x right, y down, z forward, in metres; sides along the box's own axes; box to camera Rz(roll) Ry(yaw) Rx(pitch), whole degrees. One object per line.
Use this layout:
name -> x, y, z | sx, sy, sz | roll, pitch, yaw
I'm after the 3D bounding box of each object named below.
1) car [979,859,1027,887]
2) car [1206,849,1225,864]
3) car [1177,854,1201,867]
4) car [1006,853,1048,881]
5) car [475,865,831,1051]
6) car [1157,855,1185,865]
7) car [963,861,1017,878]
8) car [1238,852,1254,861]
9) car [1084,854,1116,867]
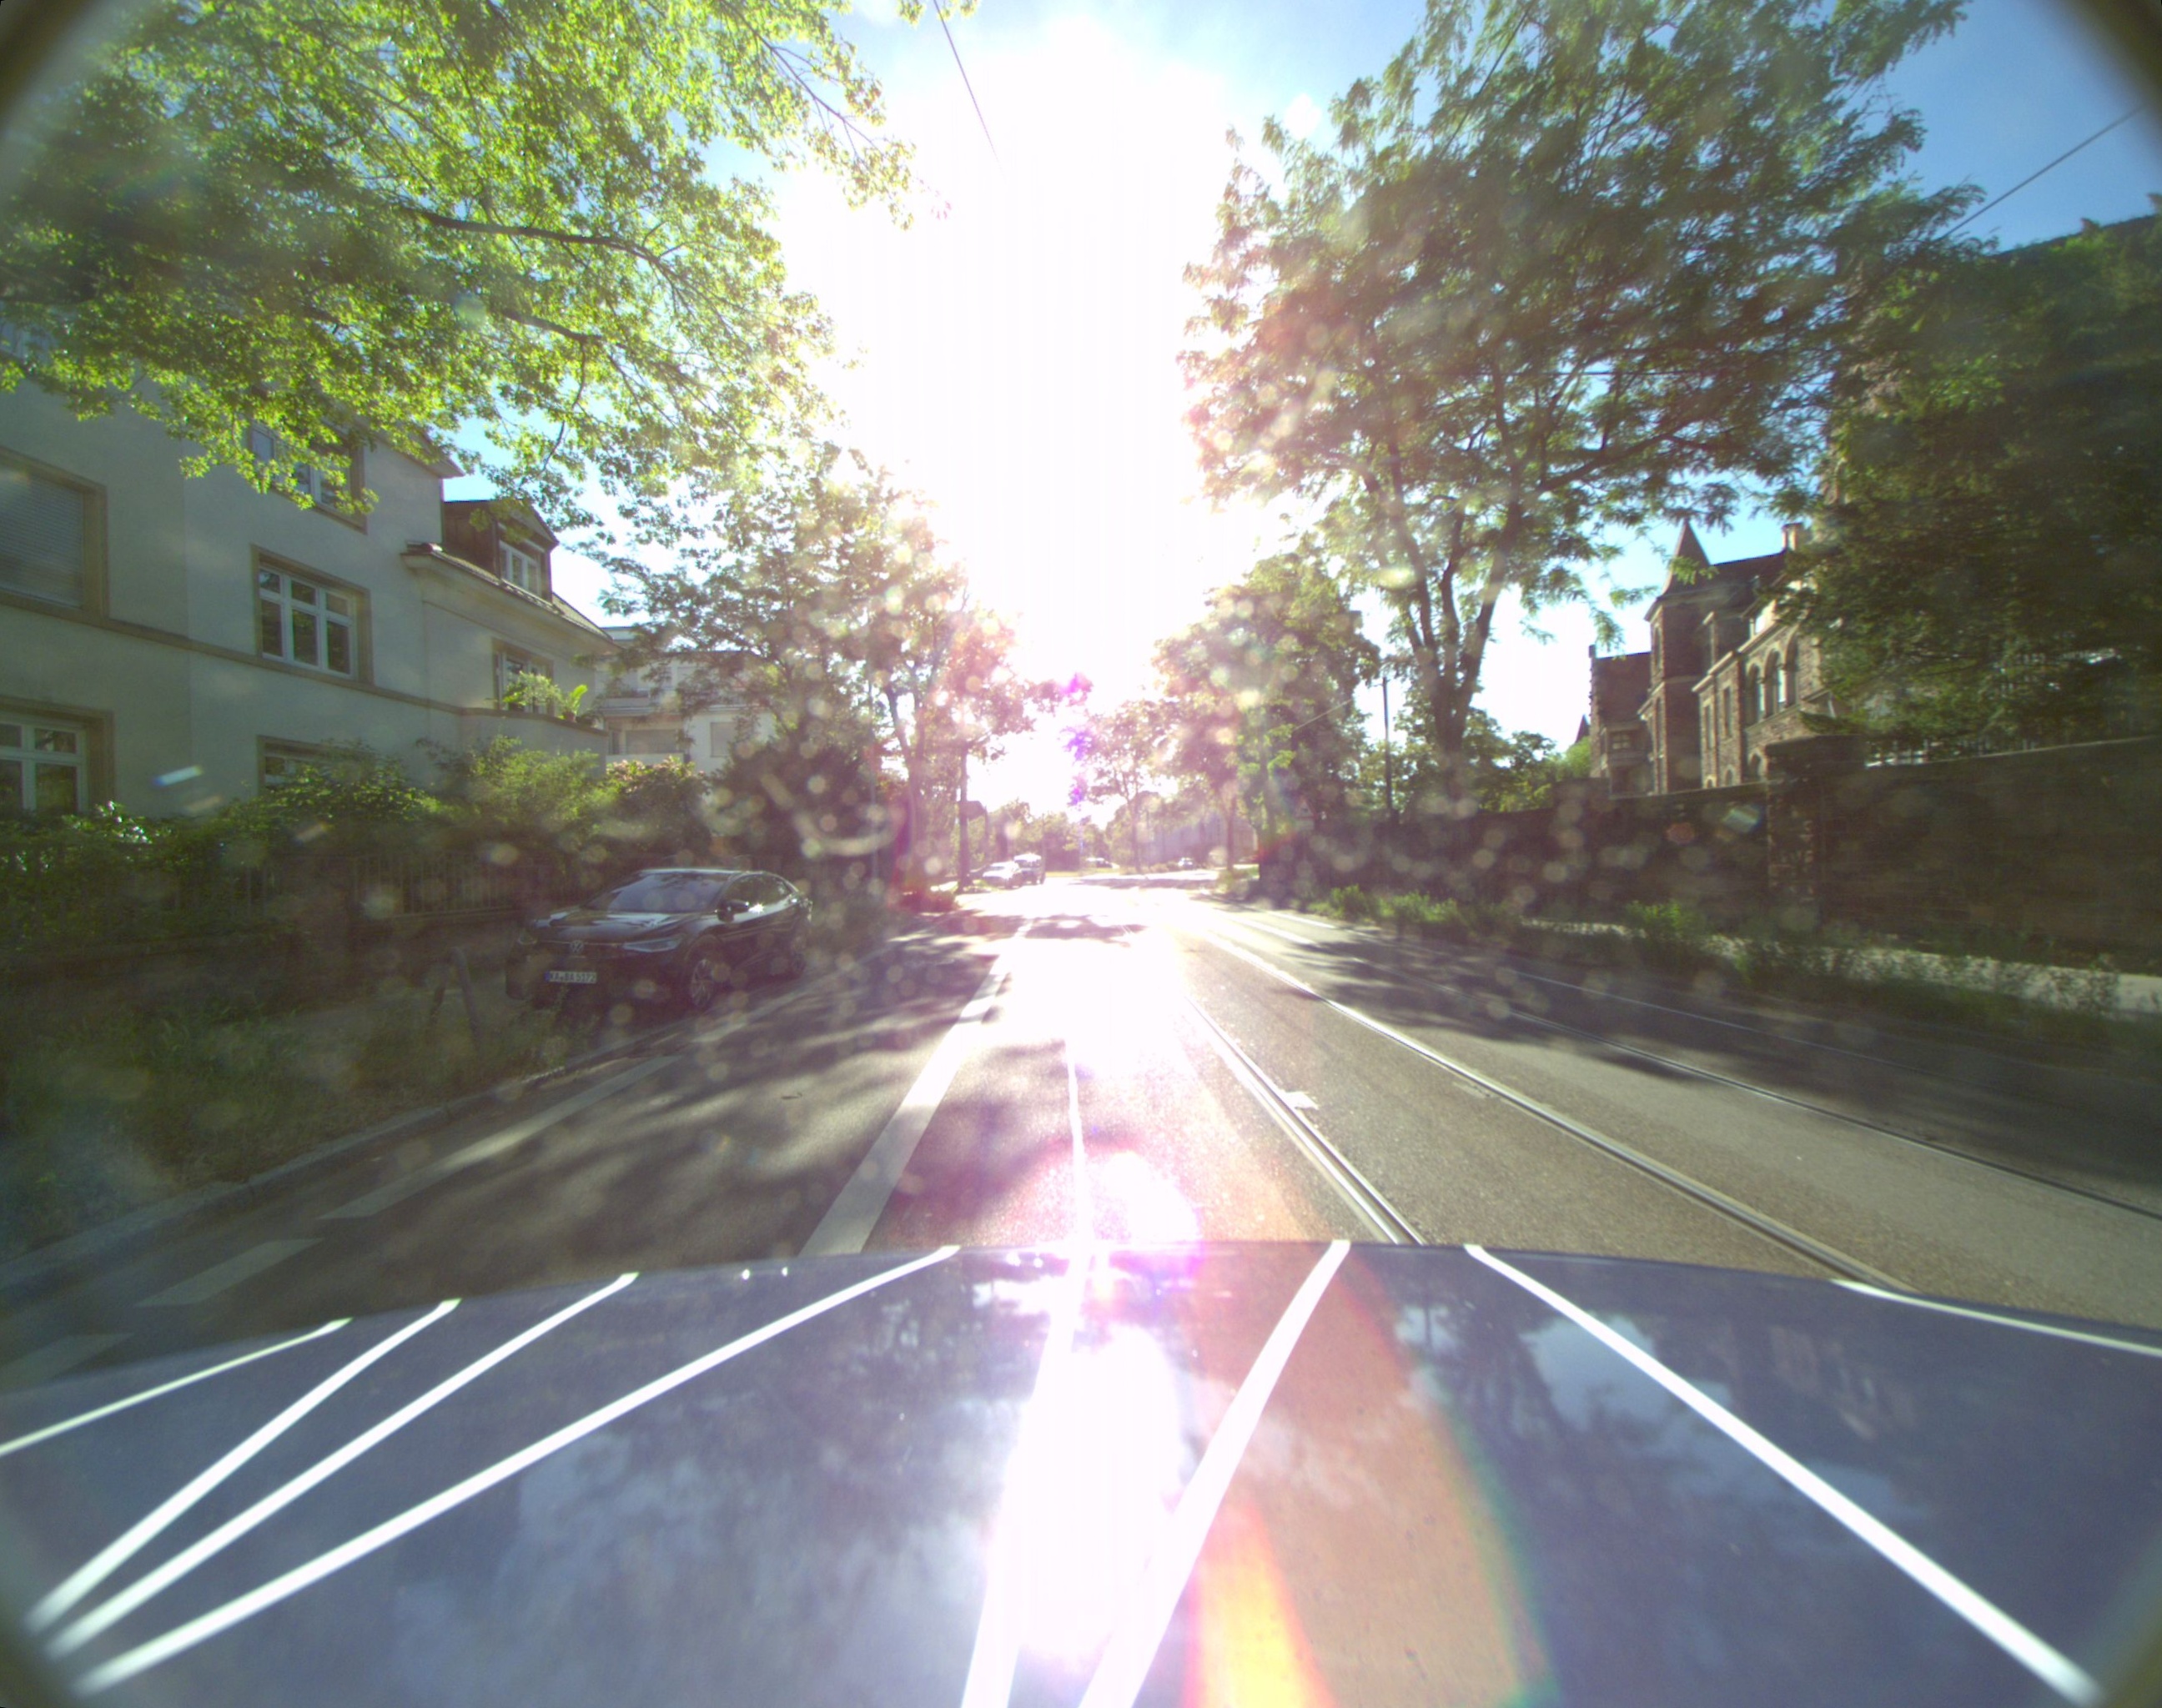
car -> -4.416, 1.052, 43.723 | 1.998, 1.414, 4.333 | -1, 1, 4
car -> 20.240, 0.367, 114.243 | 1.996, 2.083, 4.723 | -1, 0, 18
car -> 13.811, 0.827, 97.061 | 2.002, 1.457, 5.440 | 2, 1, 19
car -> -3.450, 0.823, 49.653 | 2.027, 1.736, 4.753 | -1, 0, 5
car -> -4.960, 1.051, 9.773 | 1.809, 1.684, 4.729 | 2, 0, 1
car -> 15.010, 0.954, 126.737 | 4.459, 1.482, 2.008 | -1, 4, 2
car -> -8.080, 1.337, 67.842 | 4.521, 1.361, 1.969 | -2, 0, 2
car -> 31.064, 0.499, 142.899 | 1.739, 1.487, 4.538 | -2, 0, 29
car -> 3.117, 1.029, 126.862 | 5.208, 1.874, 2.100 | -2, 0, 2
